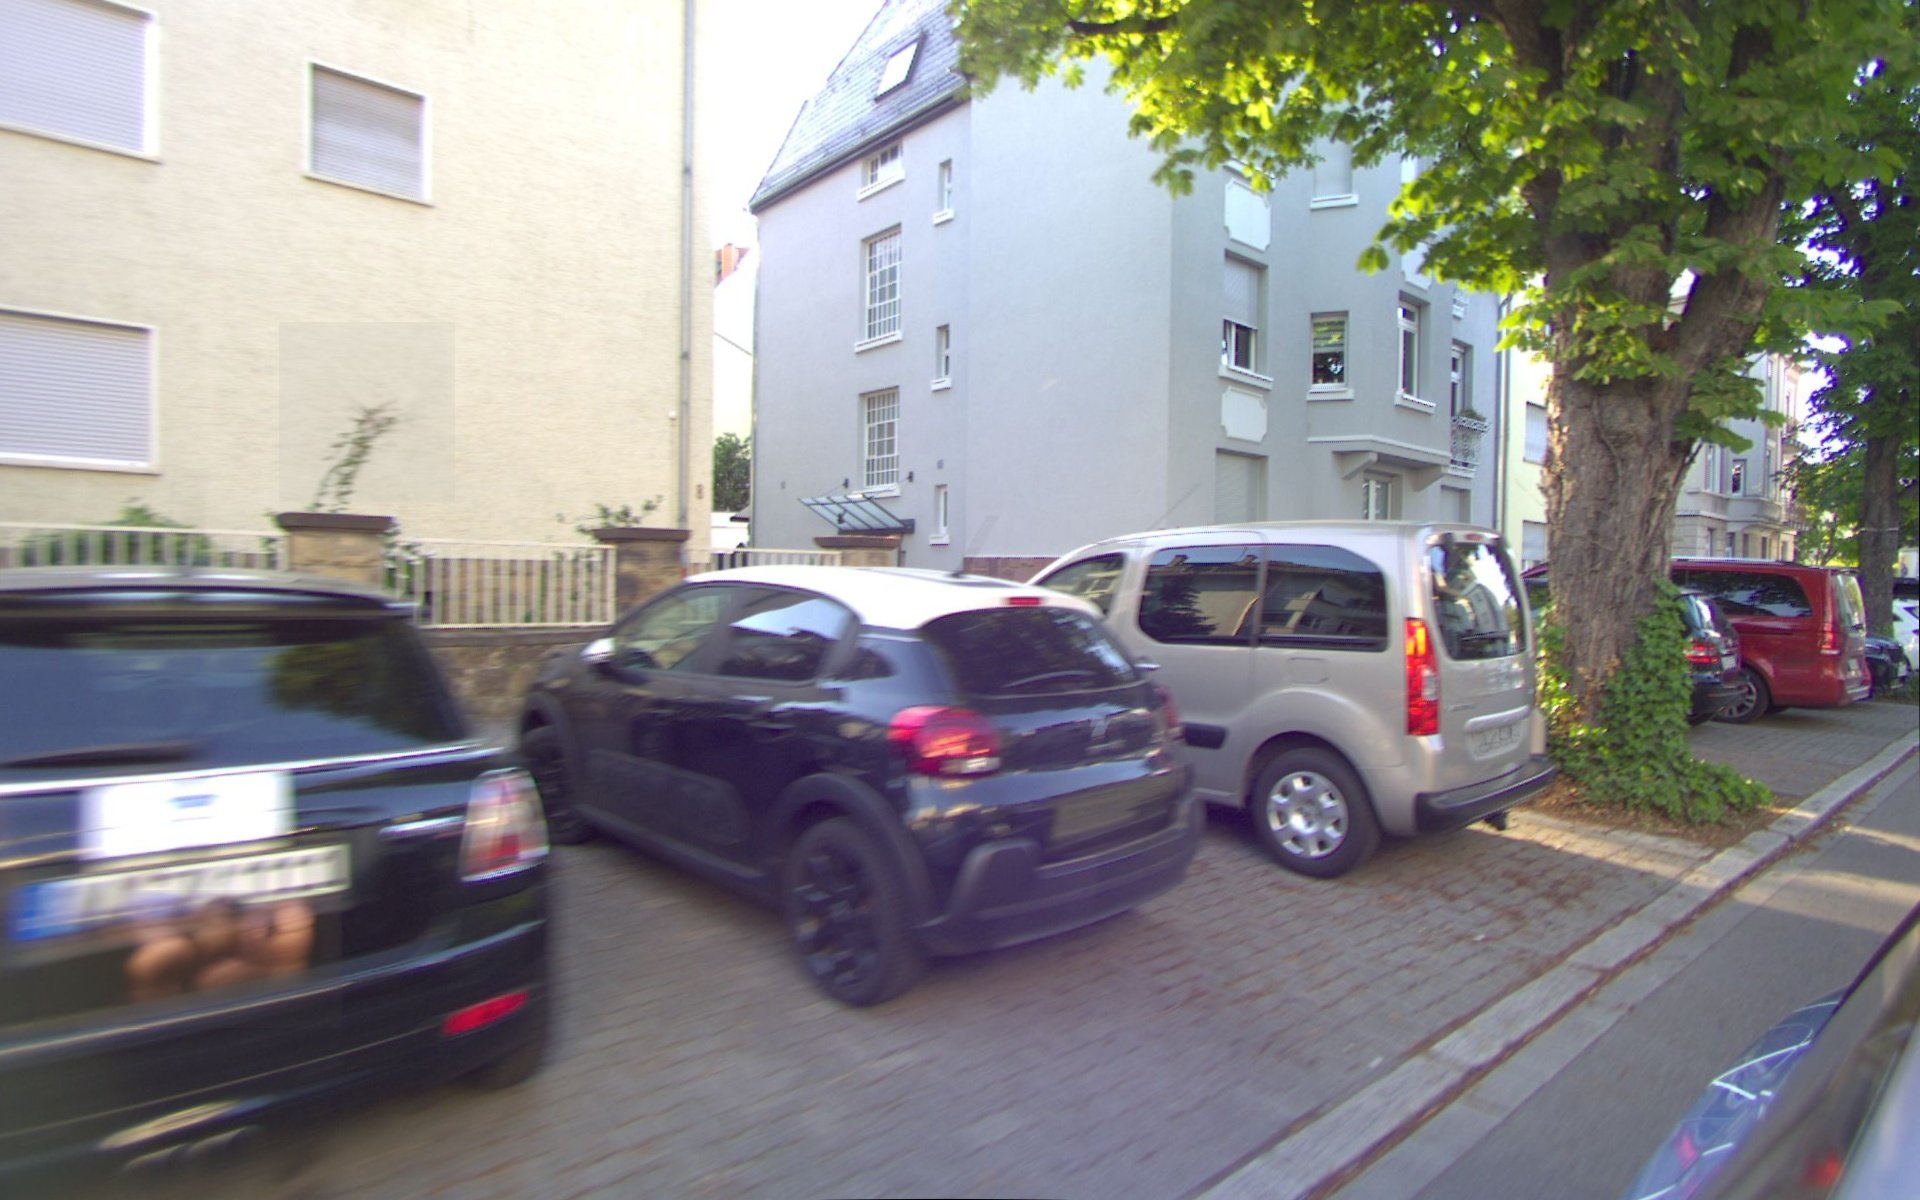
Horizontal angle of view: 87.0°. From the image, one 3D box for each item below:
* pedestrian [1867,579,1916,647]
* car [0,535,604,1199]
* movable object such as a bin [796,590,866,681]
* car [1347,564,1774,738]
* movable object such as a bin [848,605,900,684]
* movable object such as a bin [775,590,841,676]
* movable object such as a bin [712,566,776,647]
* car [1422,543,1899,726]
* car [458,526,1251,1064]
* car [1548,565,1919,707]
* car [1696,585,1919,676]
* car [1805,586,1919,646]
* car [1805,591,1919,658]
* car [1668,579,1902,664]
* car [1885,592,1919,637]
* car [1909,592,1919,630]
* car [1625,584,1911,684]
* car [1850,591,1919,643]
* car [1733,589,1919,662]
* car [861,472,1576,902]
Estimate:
[{"bbox_3d":[28.487,0.380,30.948,0.964,2.039,0.998,1,1,-43],"label":"pedestrian"},{"bbox_3d":[-2.722,0.522,3.474,1.728,1.445,3.410,0,2,-40],"label":"car"},{"bbox_3d":[-1.645,0.437,12.886,0.678,1.114,0.605,0,0,-34],"label":"movable object such as a bin"},{"bbox_3d":[6.740,0.438,11.715,1.657,1.623,3.903,0,2,-40],"label":"car"},{"bbox_3d":[-1.045,0.532,12.363,0.488,0.933,0.504,0,0,14],"label":"movable object such as a bin"},{"bbox_3d":[-2.021,0.421,13.457,0.678,1.114,0.605,0,0,-34],"label":"movable object such as a bin"},{"bbox_3d":[-3.218,0.084,15.091,0.604,1.130,0.681,6,4,44],"label":"movable object such as a bin"},{"bbox_3d":[8.946,0.287,13.357,1.915,1.960,4.819,0,2,-39],"label":"car"},{"bbox_3d":[-0.922,0.486,5.103,1.729,1.560,4.306,0,2,-43],"label":"car"},{"bbox_3d":[11.259,0.397,14.822,1.758,1.726,4.211,1,2,-36],"label":"car"},{"bbox_3d":[16.466,0.520,19.253,1.646,1.516,3.679,0,2,-40],"label":"car"},{"bbox_3d":[25.243,0.435,27.063,1.573,1.504,3.824,0,2,-40],"label":"car"},{"bbox_3d":[22.293,0.586,23.658,1.573,1.460,3.679,0,2,-40],"label":"car"},{"bbox_3d":[17.888,0.406,22.069,1.646,1.618,3.679,0,2,-40],"label":"car"},{"bbox_3d":[33.821,0.531,34.145,3.815,1.504,1.577,3,2,43],"label":"car"},{"bbox_3d":[39.368,0.490,39.050,1.573,1.504,3.824,0,2,-40],"label":"car"},{"bbox_3d":[14.077,0.516,17.789,1.588,1.480,3.679,0,2,-40],"label":"car"},{"bbox_3d":[29.781,0.550,30.820,1.573,1.504,3.824,0,2,-40],"label":"car"},{"bbox_3d":[20.080,0.539,23.043,1.573,1.460,3.679,0,2,-40],"label":"car"},{"bbox_3d":[1.347,0.298,6.660,1.729,1.908,4.306,-1,3,-43],"label":"car"}]
